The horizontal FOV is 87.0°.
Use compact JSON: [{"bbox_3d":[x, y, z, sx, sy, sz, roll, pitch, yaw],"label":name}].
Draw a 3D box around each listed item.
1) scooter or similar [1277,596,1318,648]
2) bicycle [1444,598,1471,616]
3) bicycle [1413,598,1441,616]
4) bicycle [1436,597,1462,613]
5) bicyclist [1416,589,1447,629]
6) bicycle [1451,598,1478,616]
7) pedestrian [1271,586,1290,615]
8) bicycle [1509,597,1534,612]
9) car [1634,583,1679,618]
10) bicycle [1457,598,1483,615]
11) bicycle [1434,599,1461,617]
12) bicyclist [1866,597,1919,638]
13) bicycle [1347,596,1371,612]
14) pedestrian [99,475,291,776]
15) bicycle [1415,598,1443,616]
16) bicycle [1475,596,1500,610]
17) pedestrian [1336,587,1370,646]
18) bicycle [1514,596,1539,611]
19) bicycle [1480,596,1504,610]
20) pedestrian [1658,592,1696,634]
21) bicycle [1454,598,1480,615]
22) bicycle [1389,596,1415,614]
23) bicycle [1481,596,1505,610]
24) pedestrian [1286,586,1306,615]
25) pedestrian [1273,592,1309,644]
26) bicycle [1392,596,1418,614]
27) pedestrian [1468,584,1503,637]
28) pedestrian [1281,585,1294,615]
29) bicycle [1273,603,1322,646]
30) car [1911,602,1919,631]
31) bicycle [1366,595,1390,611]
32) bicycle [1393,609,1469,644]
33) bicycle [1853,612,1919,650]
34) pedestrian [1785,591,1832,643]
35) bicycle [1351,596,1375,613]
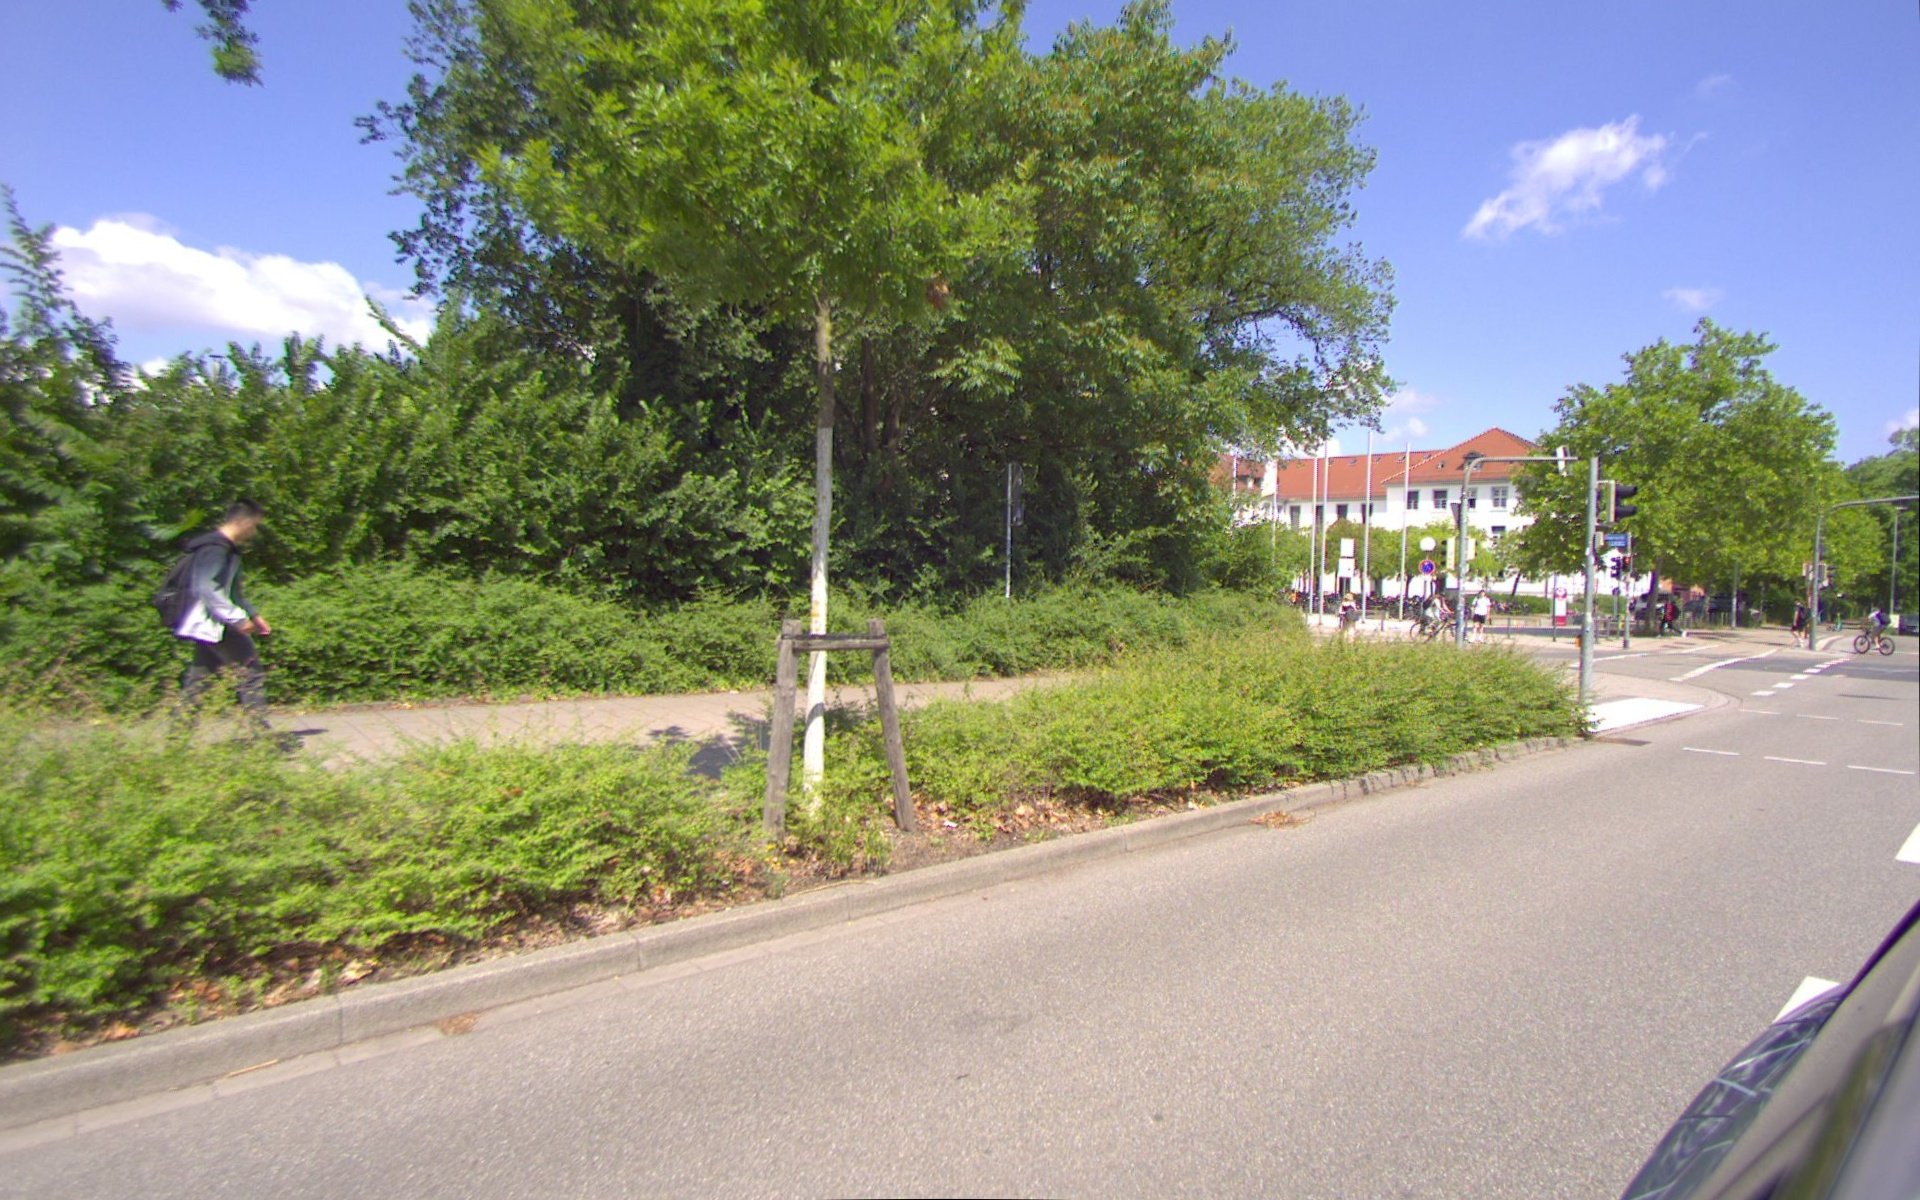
[{"bbox_3d":[8.538,0.537,25.635,0.428,1.249,1.232,3,1,-7],"label":"scooter or similar"},{"bbox_3d":[29.076,0.404,59.200,1.367,0.963,0.347,2,1,42],"label":"bicycle"},{"bbox_3d":[26.686,0.408,57.833,1.367,0.963,0.347,2,1,42],"label":"bicycle"},{"bbox_3d":[30.789,0.295,63.771,1.407,0.963,0.347,2,1,42],"label":"bicycle"},{"bbox_3d":[15.012,0.286,32.206,0.827,1.241,0.612,2,1,31],"label":"bicyclist"},{"bbox_3d":[29.684,0.403,59.564,1.367,0.963,0.347,2,1,42],"label":"bicycle"},{"bbox_3d":[18.170,0.018,57.366,0.670,1.642,0.837,1,1,-16],"label":"pedestrian"},{"bbox_3d":[38.079,0.276,68.585,1.424,0.963,0.347,2,1,42],"label":"bicycle"},{"bbox_3d":[43.421,0.037,63.041,1.990,2.080,4.169,2,1,39],"label":"car"},{"bbox_3d":[31.087,0.379,61.677,1.367,0.963,0.347,2,1,42],"label":"bicycle"},{"bbox_3d":[28.432,0.466,59.011,1.367,0.963,0.347,2,1,42],"label":"bicycle"},{"bbox_3d":[34.265,0.626,37.190,0.956,1.462,1.074,1,1,8],"label":"bicyclist"},{"bbox_3d":[24.483,0.235,62.164,0.346,0.963,1.371,1,1,-39],"label":"bicycle"},{"bbox_3d":[-4.889,0.139,6.466,0.913,1.743,0.815,0,1,-41],"label":"pedestrian"},{"bbox_3d":[27.020,0.395,58.295,1.367,0.958,0.347,2,1,42],"label":"bicycle"},{"bbox_3d":[36.400,0.209,69.829,1.424,0.963,0.347,2,1,42],"label":"bicycle"},{"bbox_3d":[11.363,0.468,29.262,0.632,1.646,0.636,1,1,-7],"label":"pedestrian"},{"bbox_3d":[38.808,0.264,69.378,1.424,0.963,0.347,2,1,42],"label":"bicycle"},{"bbox_3d":[36.919,0.206,70.235,1.424,0.963,0.347,2,1,42],"label":"bicycle"},{"bbox_3d":[28.486,0.520,40.214,1.054,1.617,0.962,1,1,28],"label":"pedestrian"},{"bbox_3d":[30.668,0.405,61.189,1.367,0.963,0.347,2,1,42],"label":"bicycle"},{"bbox_3d":[26.180,0.307,59.934,1.367,1.013,0.347,2,1,42],"label":"bicycle"},{"bbox_3d":[37.176,0.200,70.553,1.424,0.963,0.347,2,1,42],"label":"bicycle"},{"bbox_3d":[19.175,0.022,57.812,0.670,1.642,0.837,1,1,-19],"label":"pedestrian"},{"bbox_3d":[9.560,0.517,29.245,0.643,1.434,0.789,4,0,-7],"label":"pedestrian"},{"bbox_3d":[26.522,0.294,60.298,1.367,1.013,0.347,2,1,42],"label":"bicycle"},{"bbox_3d":[19.315,0.371,37.182,0.876,1.896,0.957,2,1,43],"label":"pedestrian"},{"bbox_3d":[17.752,0.005,54.877,0.528,1.610,0.436,1,1,-6],"label":"pedestrian"},{"bbox_3d":[9.780,0.694,29.366,0.658,1.157,1.665,3,0,-6],"label":"bicycle"},{"bbox_3d":[61.988,1.086,64.563,1.908,1.805,3.937,2,1,43],"label":"car"},{"bbox_3d":[26.991,0.197,65.346,1.365,0.963,0.347,2,1,40],"label":"bicycle"},{"bbox_3d":[14.992,0.835,32.233,2.146,1.011,0.640,2,1,31],"label":"bicycle"},{"bbox_3d":[34.274,1.116,37.366,0.870,1.267,2.160,1,1,8],"label":"bicycle"},{"bbox_3d":[32.936,0.642,39.300,0.951,1.950,1.034,1,1,-21],"label":"pedestrian"},{"bbox_3d":[24.903,0.264,62.522,0.346,0.963,1.371,1,1,-39],"label":"bicycle"}]
